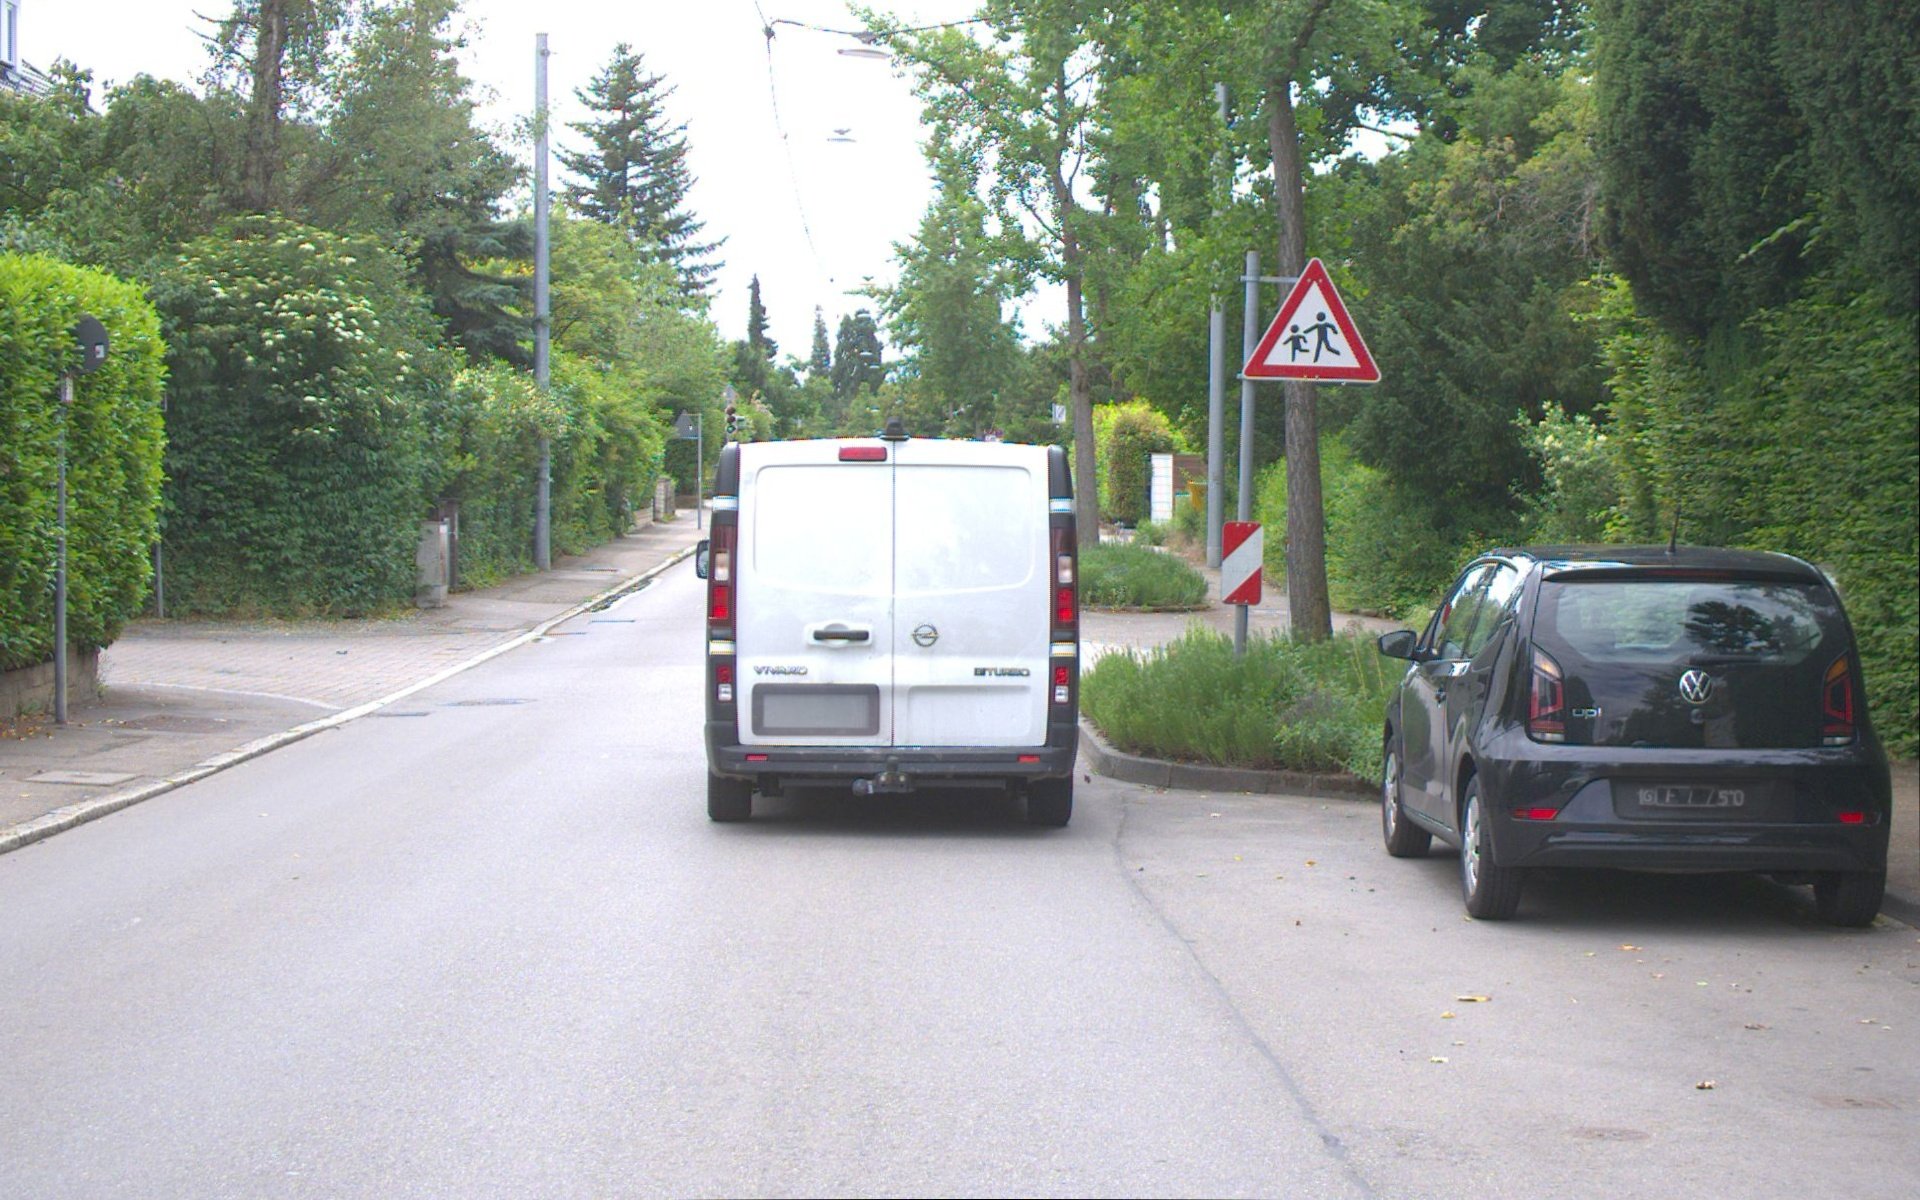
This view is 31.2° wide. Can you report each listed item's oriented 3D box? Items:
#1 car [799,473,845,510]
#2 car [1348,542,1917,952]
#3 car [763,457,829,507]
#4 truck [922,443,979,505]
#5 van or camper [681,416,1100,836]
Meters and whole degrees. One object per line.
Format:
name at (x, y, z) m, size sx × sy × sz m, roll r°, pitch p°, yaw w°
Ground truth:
car at (-5.533, -4.340, 138.009) m, size 1.805 × 1.426 × 4.119 m, roll -1°, pitch 1°, yaw -2°
car at (2.742, 0.525, 14.811) m, size 1.623 × 1.468 × 3.741 m, roll 1°, pitch 2°, yaw -1°
car at (-5.131, -3.727, 107.980) m, size 1.805 × 1.426 × 4.301 m, roll -3°, pitch 3°, yaw 0°
truck at (-0.448, -5.339, 144.611) m, size 2.187 × 2.463 × 7.432 m, roll 1°, pitch 3°, yaw -1°
van or camper at (-0.408, 0.064, 18.627) m, size 1.939 × 1.947 × 4.766 m, roll 1°, pitch 1°, yaw -2°
